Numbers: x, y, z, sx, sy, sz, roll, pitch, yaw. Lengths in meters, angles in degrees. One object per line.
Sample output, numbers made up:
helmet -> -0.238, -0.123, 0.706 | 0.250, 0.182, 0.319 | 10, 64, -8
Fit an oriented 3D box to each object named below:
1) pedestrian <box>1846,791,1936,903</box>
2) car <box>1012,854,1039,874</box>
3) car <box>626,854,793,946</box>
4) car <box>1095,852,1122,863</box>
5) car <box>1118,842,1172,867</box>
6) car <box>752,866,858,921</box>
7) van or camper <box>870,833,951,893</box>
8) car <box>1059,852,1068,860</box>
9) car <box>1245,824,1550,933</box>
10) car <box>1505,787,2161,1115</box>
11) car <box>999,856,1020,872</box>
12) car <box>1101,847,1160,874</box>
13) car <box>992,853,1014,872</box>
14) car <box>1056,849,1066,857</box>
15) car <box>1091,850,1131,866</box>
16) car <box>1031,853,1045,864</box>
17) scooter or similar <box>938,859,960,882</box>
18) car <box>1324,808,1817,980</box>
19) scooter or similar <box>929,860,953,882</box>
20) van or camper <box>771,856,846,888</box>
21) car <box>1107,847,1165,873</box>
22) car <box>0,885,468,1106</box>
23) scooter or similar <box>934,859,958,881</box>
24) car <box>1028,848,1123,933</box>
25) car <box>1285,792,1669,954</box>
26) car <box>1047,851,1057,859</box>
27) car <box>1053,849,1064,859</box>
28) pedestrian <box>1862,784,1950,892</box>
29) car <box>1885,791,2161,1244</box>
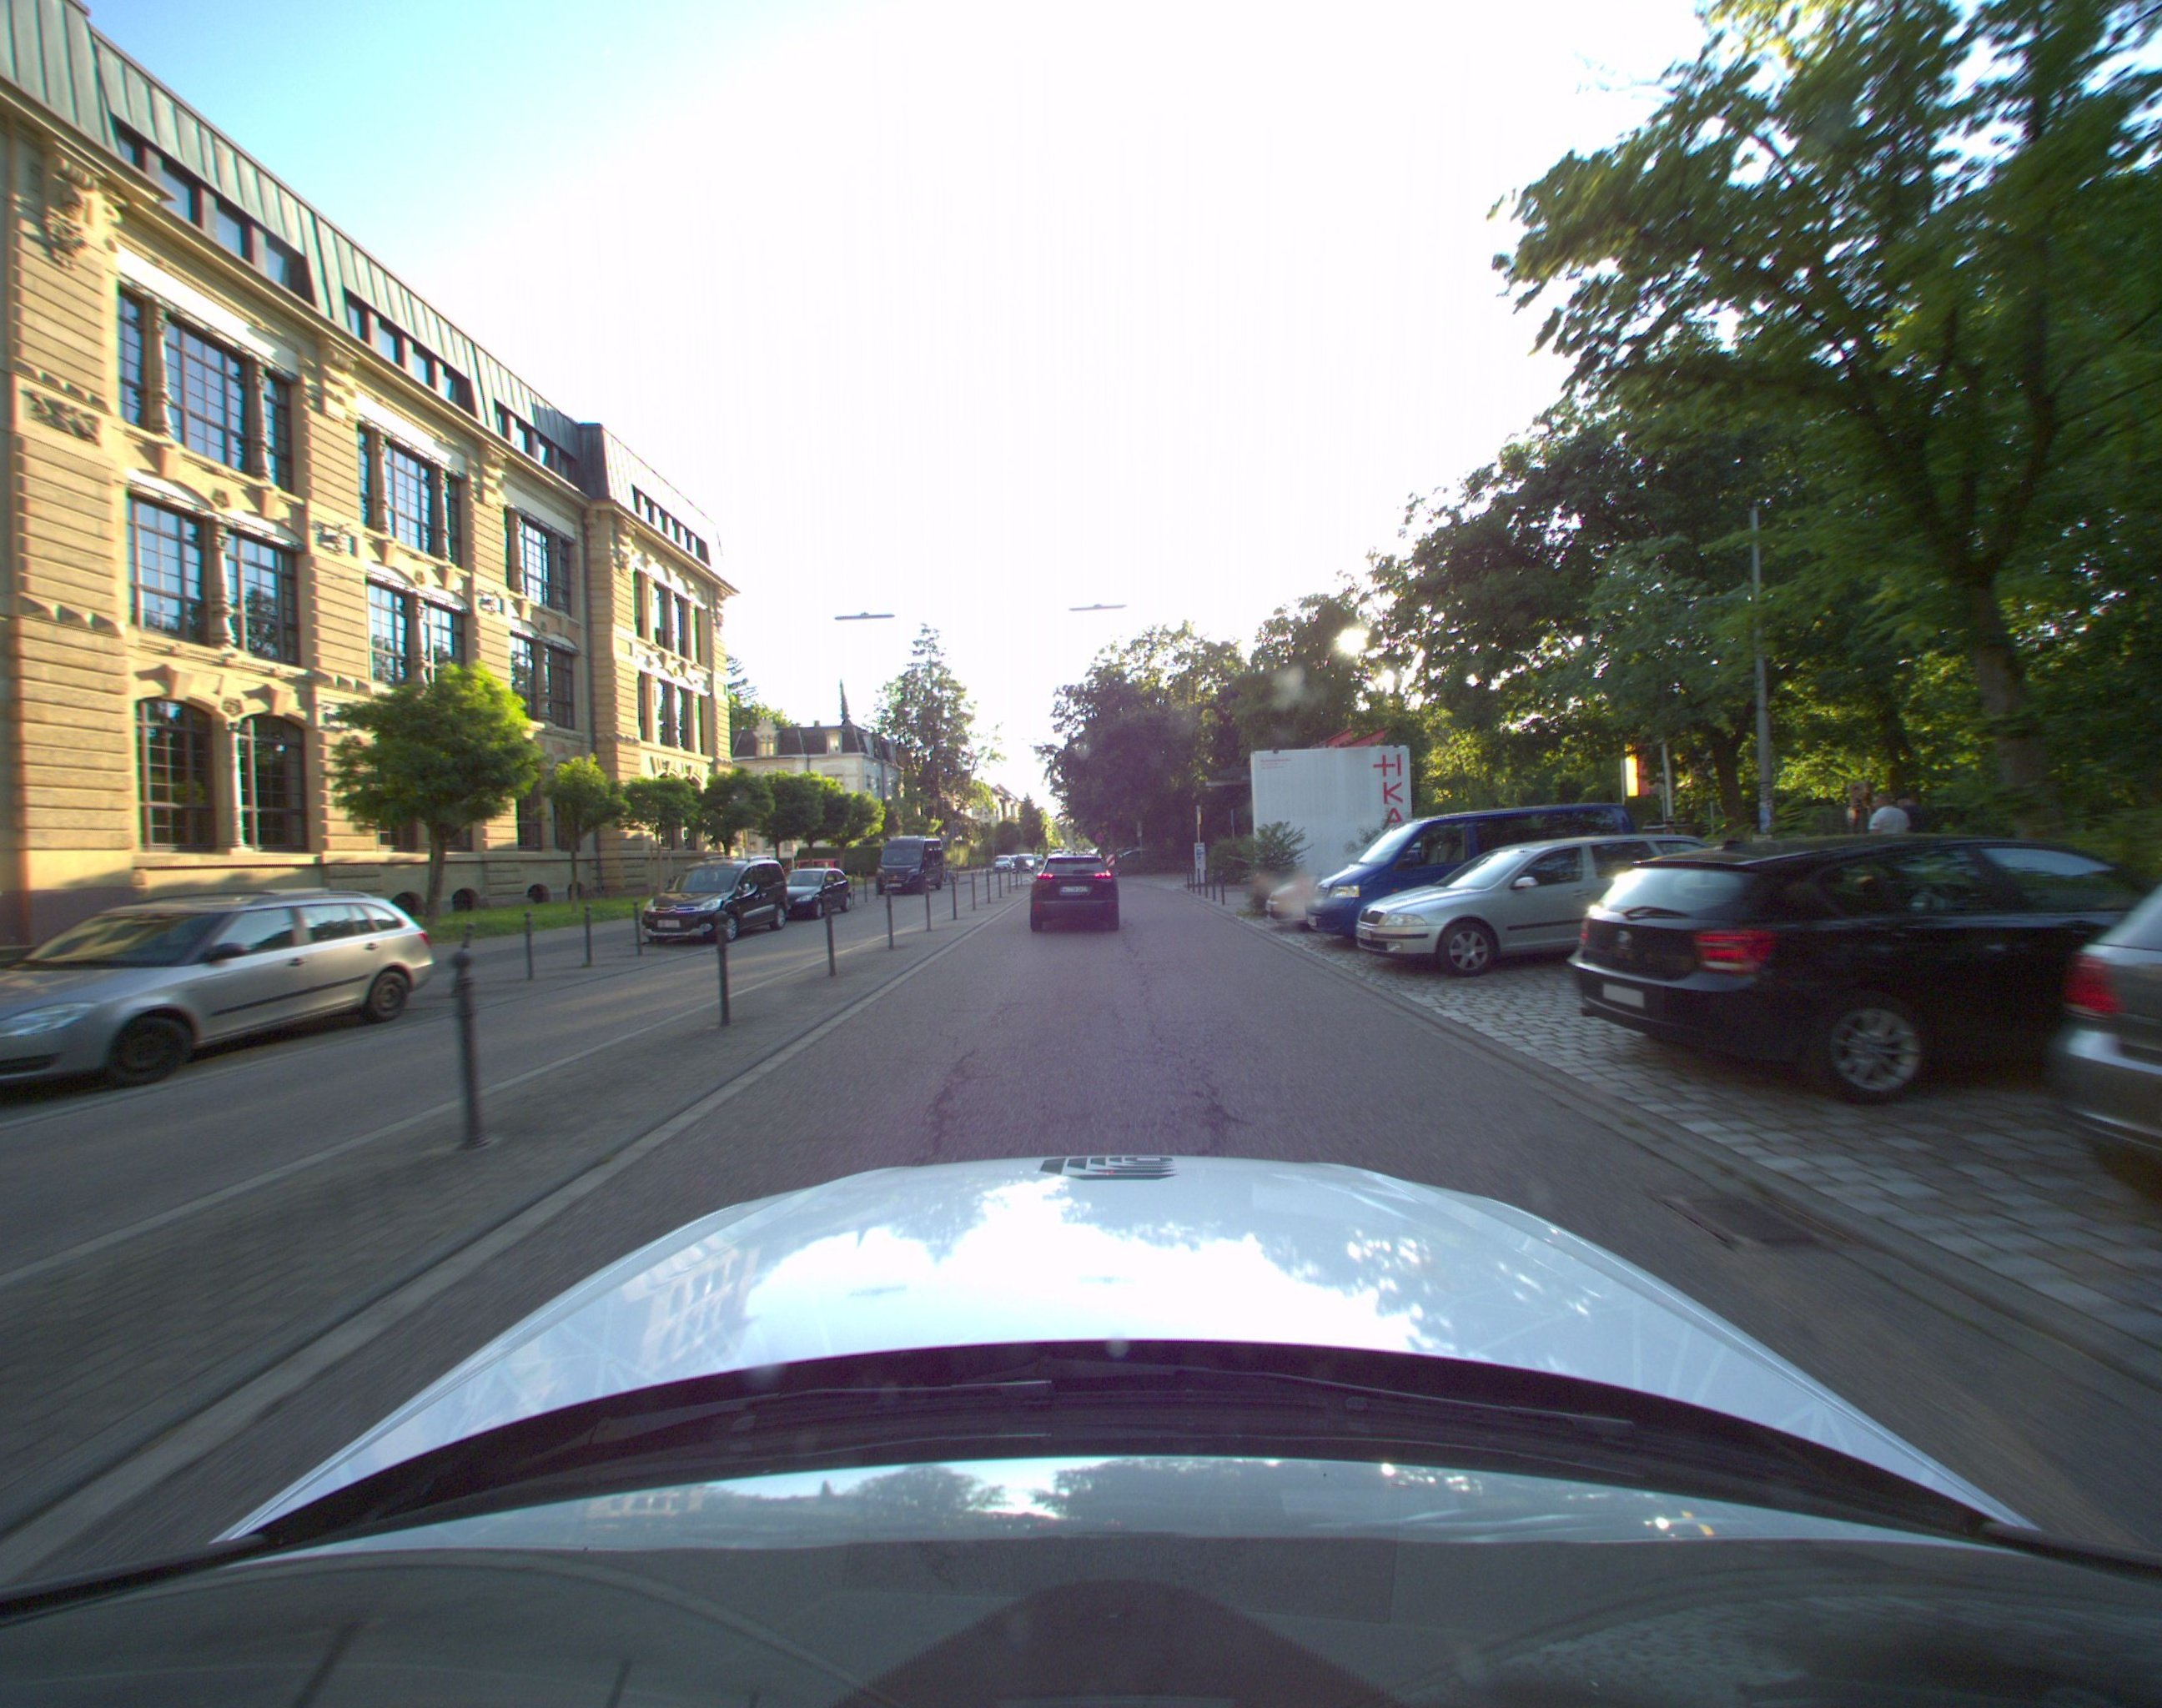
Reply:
pedestrian -> 13.367, -0.120, 13.458 | 0.662, 1.772, 0.785 | -2, 0, -4
car -> -4.451, 0.791, 65.911 | 1.735, 1.458, 4.624 | -3, 0, 1
car -> -8.351, 0.943, 18.810 | 1.771, 1.866, 4.333 | 0, 0, 1
car -> 4.127, 0.540, 123.585 | 3.979, 1.526, 1.755 | -2, 0, -4
car -> 5.347, 0.066, 68.620 | 4.293, 1.804, 2.035 | -4, 0, 0
car -> -8.161, 1.122, 24.461 | 1.689, 1.470, 3.857 | 0, 0, 3
van or camper -> -7.820, 0.397, 38.270 | 2.222, 2.544, 7.080 | -1, 0, 1
car -> -4.374, 0.542, 199.912 | 1.987, 1.816, 4.000 | -2, 0, 1
car -> 5.781, 0.423, 15.328 | 4.911, 1.554, 1.916 | -4, 0, 0
car -> 5.480, 0.461, 5.330 | 4.349, 1.537, 1.920 | -4, 0, 0
car -> -6.971, 0.952, 79.262 | 1.608, 1.485, 3.742 | -3, 0, 1
car -> 3.364, 0.434, 55.856 | 3.973, 1.554, 1.726 | -3, 1, 0
car -> -7.015, 0.768, 73.512 | 1.609, 1.515, 3.710 | -4, 0, -1
car -> -4.565, -0.161, 184.136 | 1.987, 1.768, 4.000 | -2, 0, 0
car -> 3.219, 0.450, 89.000 | 4.231, 1.448, 2.020 | -4, 0, -2
car -> -6.145, 0.634, 116.326 | 1.747, 1.413, 3.763 | -4, 0, -1
scooter or similar -> -7.816, 0.977, 48.377 | 0.426, 1.275, 1.353 | -2, 0, 36
car -> 5.802, 0.447, 10.123 | 4.911, 1.554, 1.916 | -4, 0, 0
scooter or similar -> -8.368, 0.998, 48.749 | 1.349, 1.275, 0.427 | -2, -1, -35
van or camper -> -20.236, 1.318, 60.550 | 4.749, 1.985, 2.002 | -2, 4, 3
car -> 3.903, 0.409, 58.173 | 3.973, 1.554, 1.726 | -3, 1, 0
car -> -8.677, 1.160, 8.293 | 1.715, 1.496, 4.372 | -1, 0, -3
scooter or similar -> -8.192, 0.991, 49.435 | 1.349, 1.275, 0.427 | -2, -1, -35
car -> -0.060, 0.680, 17.503 | 1.765, 1.568, 4.110 | -1, 0, 1
car -> 5.831, 0.263, 12.442 | 4.837, 1.915, 1.916 | -4, 0, 0
car -> -5.718, 0.250, 161.008 | 1.893, 1.574, 4.000 | -2, 0, 1
car -> -4.712, -0.079, 172.261 | 1.986, 2.013, 4.002 | -2, 0, 2
pedestrian -> 14.016, -0.265, 13.855 | 0.645, 1.772, 0.789 | -2, 0, -4
car -> 5.847, 0.415, 2.730 | 4.349, 1.537, 1.920 | -4, 0, 0
